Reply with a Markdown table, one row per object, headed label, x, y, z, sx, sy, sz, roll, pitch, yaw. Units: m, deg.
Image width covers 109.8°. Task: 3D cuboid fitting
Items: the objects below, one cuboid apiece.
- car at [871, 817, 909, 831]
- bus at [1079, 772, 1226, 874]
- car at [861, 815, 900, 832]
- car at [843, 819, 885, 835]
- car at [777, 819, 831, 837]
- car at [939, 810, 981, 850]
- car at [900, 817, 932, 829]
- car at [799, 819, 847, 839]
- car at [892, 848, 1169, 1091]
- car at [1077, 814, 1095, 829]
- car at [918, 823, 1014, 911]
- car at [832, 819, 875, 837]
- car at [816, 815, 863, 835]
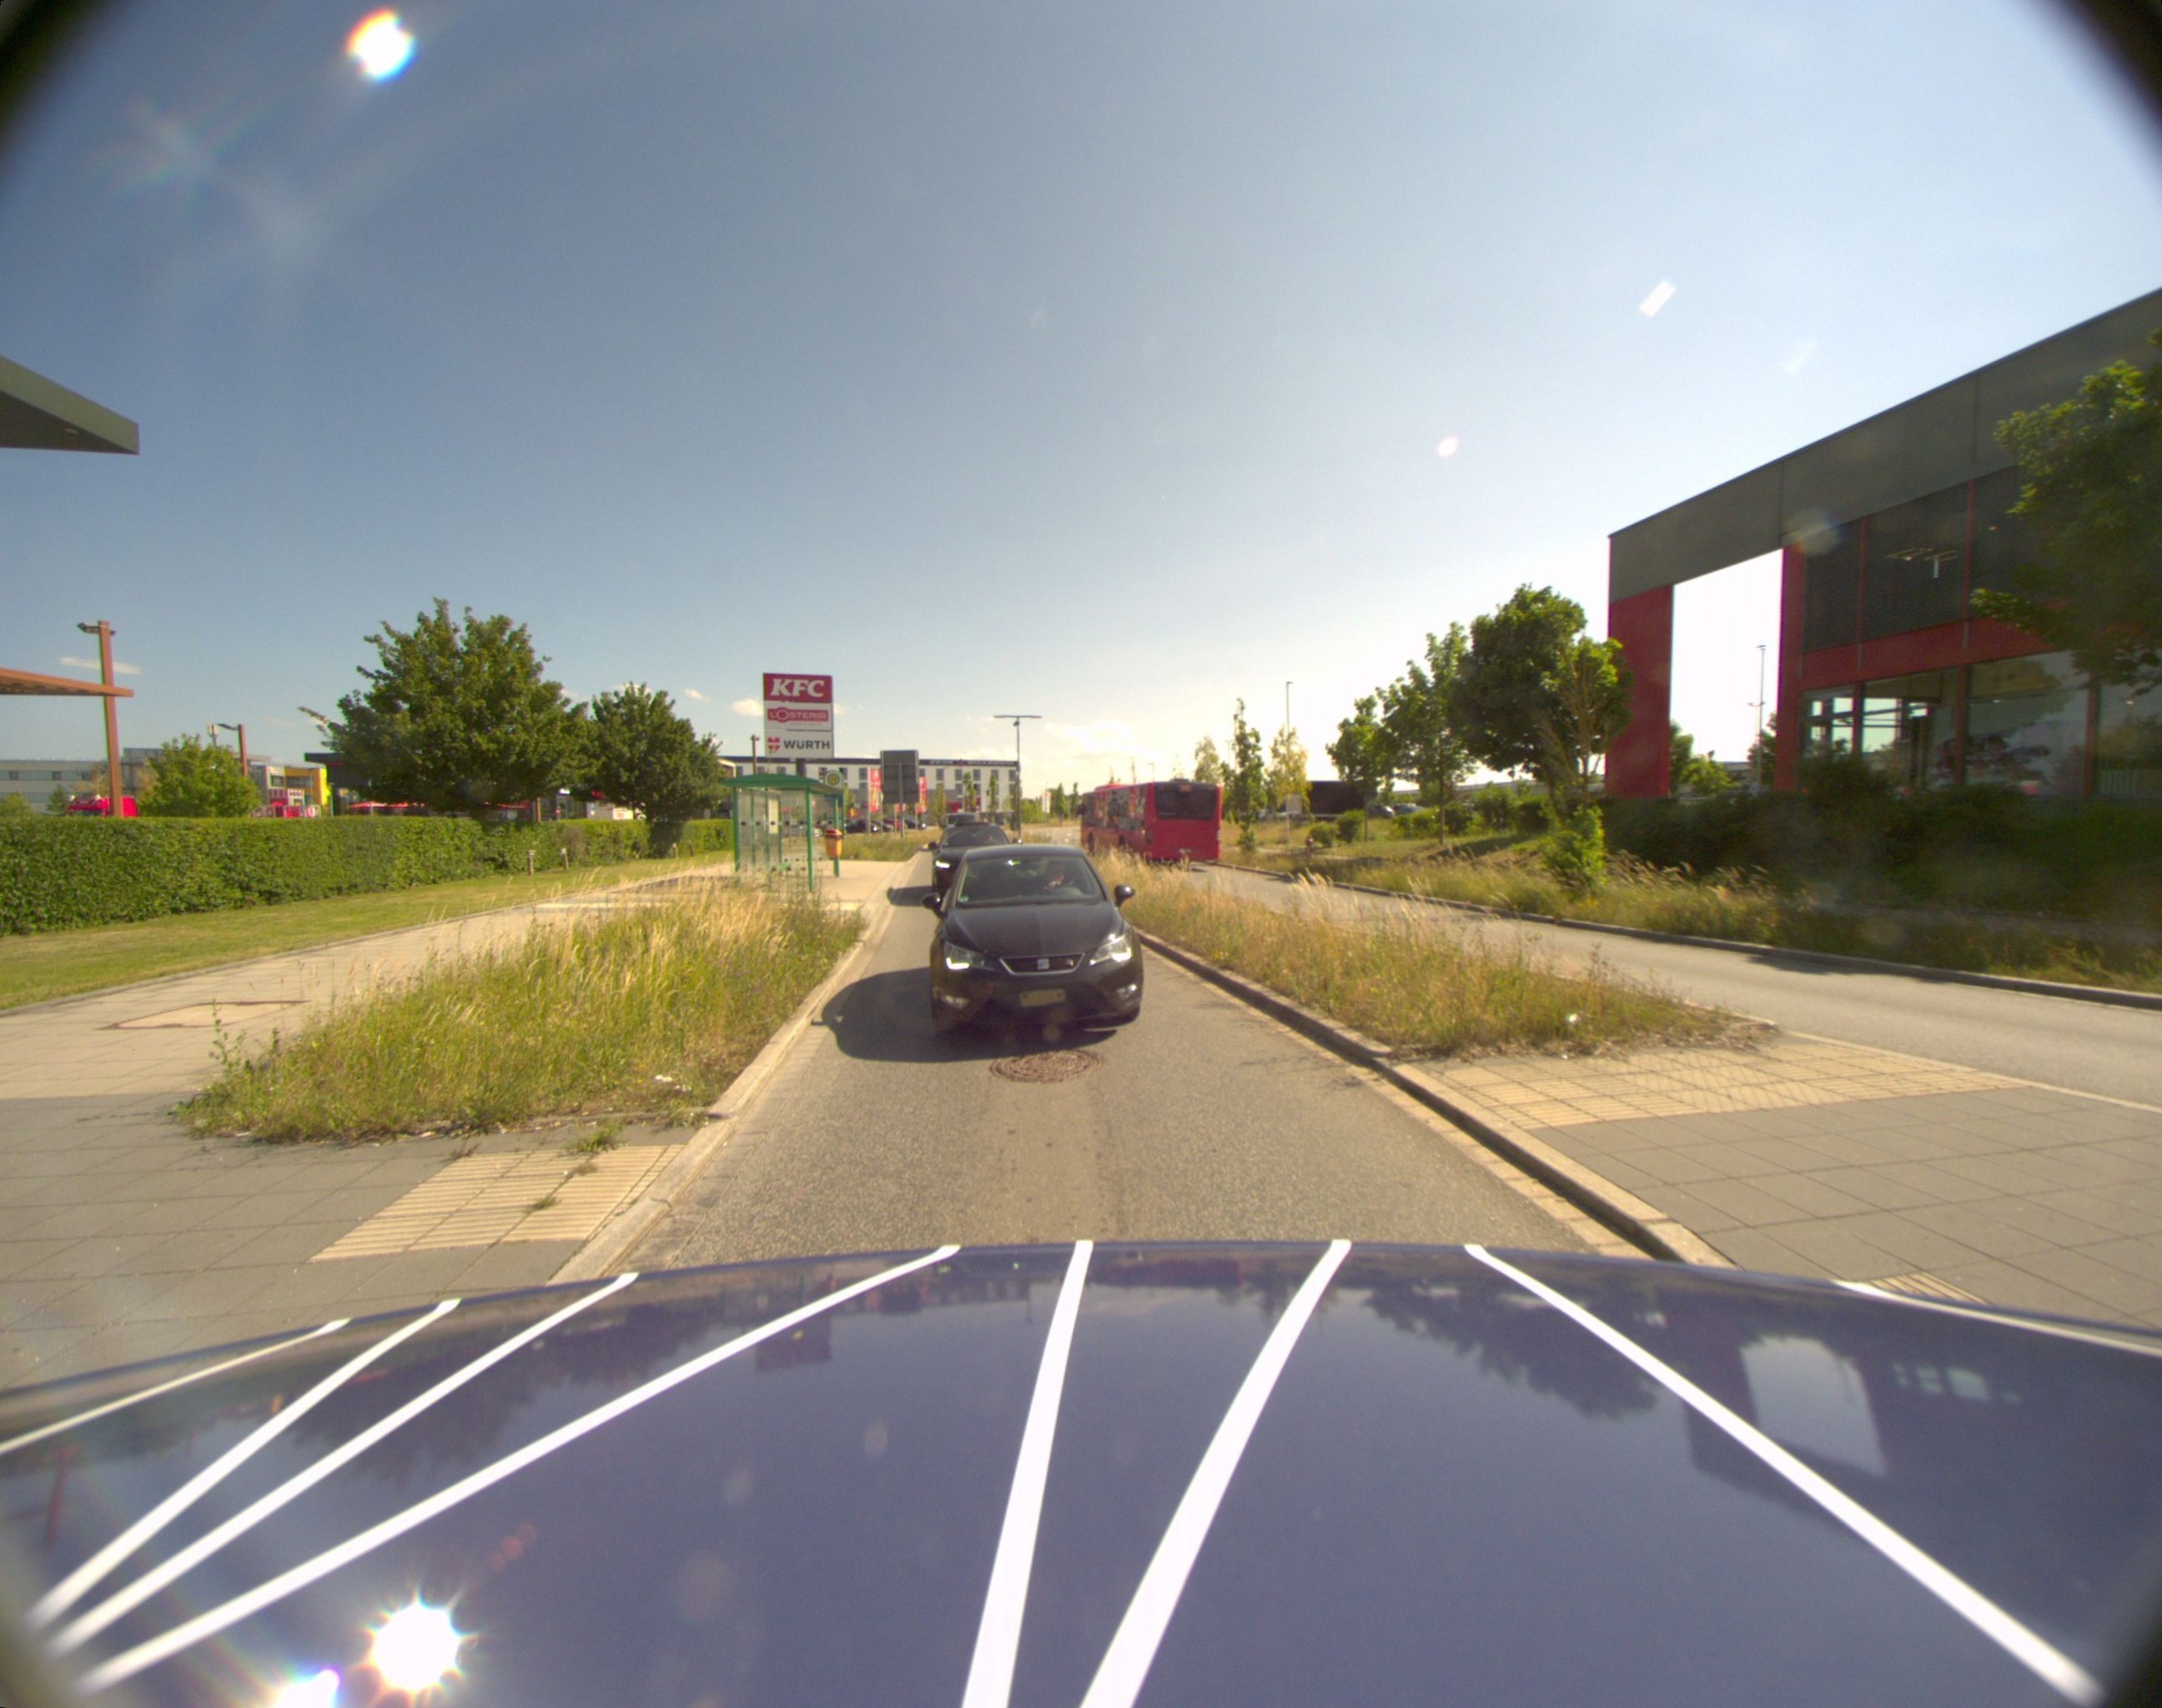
| label | x | y | z | sx | sy | sz | roll | pitch | yaw |
| --- | --- | --- | --- | --- | --- | --- | --- | --- | --- |
| car | -23.842 | -3.780 | 94.902 | 4.181 | 1.752 | 1.824 | 0 | 3 | 8 |
| bus | 2.295 | -1.197 | 29.968 | 2.618 | 3.224 | 11.865 | -1 | 2 | -10 |
| car | -24.214 | -3.697 | 91.878 | 4.183 | 2.003 | 1.933 | 0 | 3 | 3 |
| car | -24.742 | -3.083 | 86.801 | 4.181 | 1.847 | 1.803 | 0 | 3 | 8 |
| car | -26.459 | -2.500 | 72.756 | 4.441 | 1.644 | 1.932 | -1 | 3 | -3 |
| car | -6.719 | -1.387 | 42.549 | 2.080 | 2.037 | 4.677 | -4 | 3 | -7 |
| car | -22.035 | -4.143 | 101.553 | 3.821 | 1.611 | 1.756 | 0 | 3 | 4 |
| car | -26.256 | -2.539 | 77.470 | 4.182 | 2.003 | 1.933 | 0 | 3 | 5 |
| car | -0.662 | 0.740 | 7.092 | 1.863 | 1.460 | 3.995 | -1 | 2 | -10 |
| car | 0.544 | -3.874 | 89.700 | 1.862 | 1.705 | 4.153 | 0 | 3 | -3 |
| car | -2.623 | 0.178 | 17.703 | 1.863 | 1.679 | 3.995 | -4 | 3 | -7 |
| car | -25.231 | -2.906 | 84.380 | 4.182 | 2.003 | 1.933 | 0 | 3 | 4 |
| car | -25.581 | -3.054 | 80.583 | 4.182 | 2.003 | 1.933 | 0 | 3 | 4 |
